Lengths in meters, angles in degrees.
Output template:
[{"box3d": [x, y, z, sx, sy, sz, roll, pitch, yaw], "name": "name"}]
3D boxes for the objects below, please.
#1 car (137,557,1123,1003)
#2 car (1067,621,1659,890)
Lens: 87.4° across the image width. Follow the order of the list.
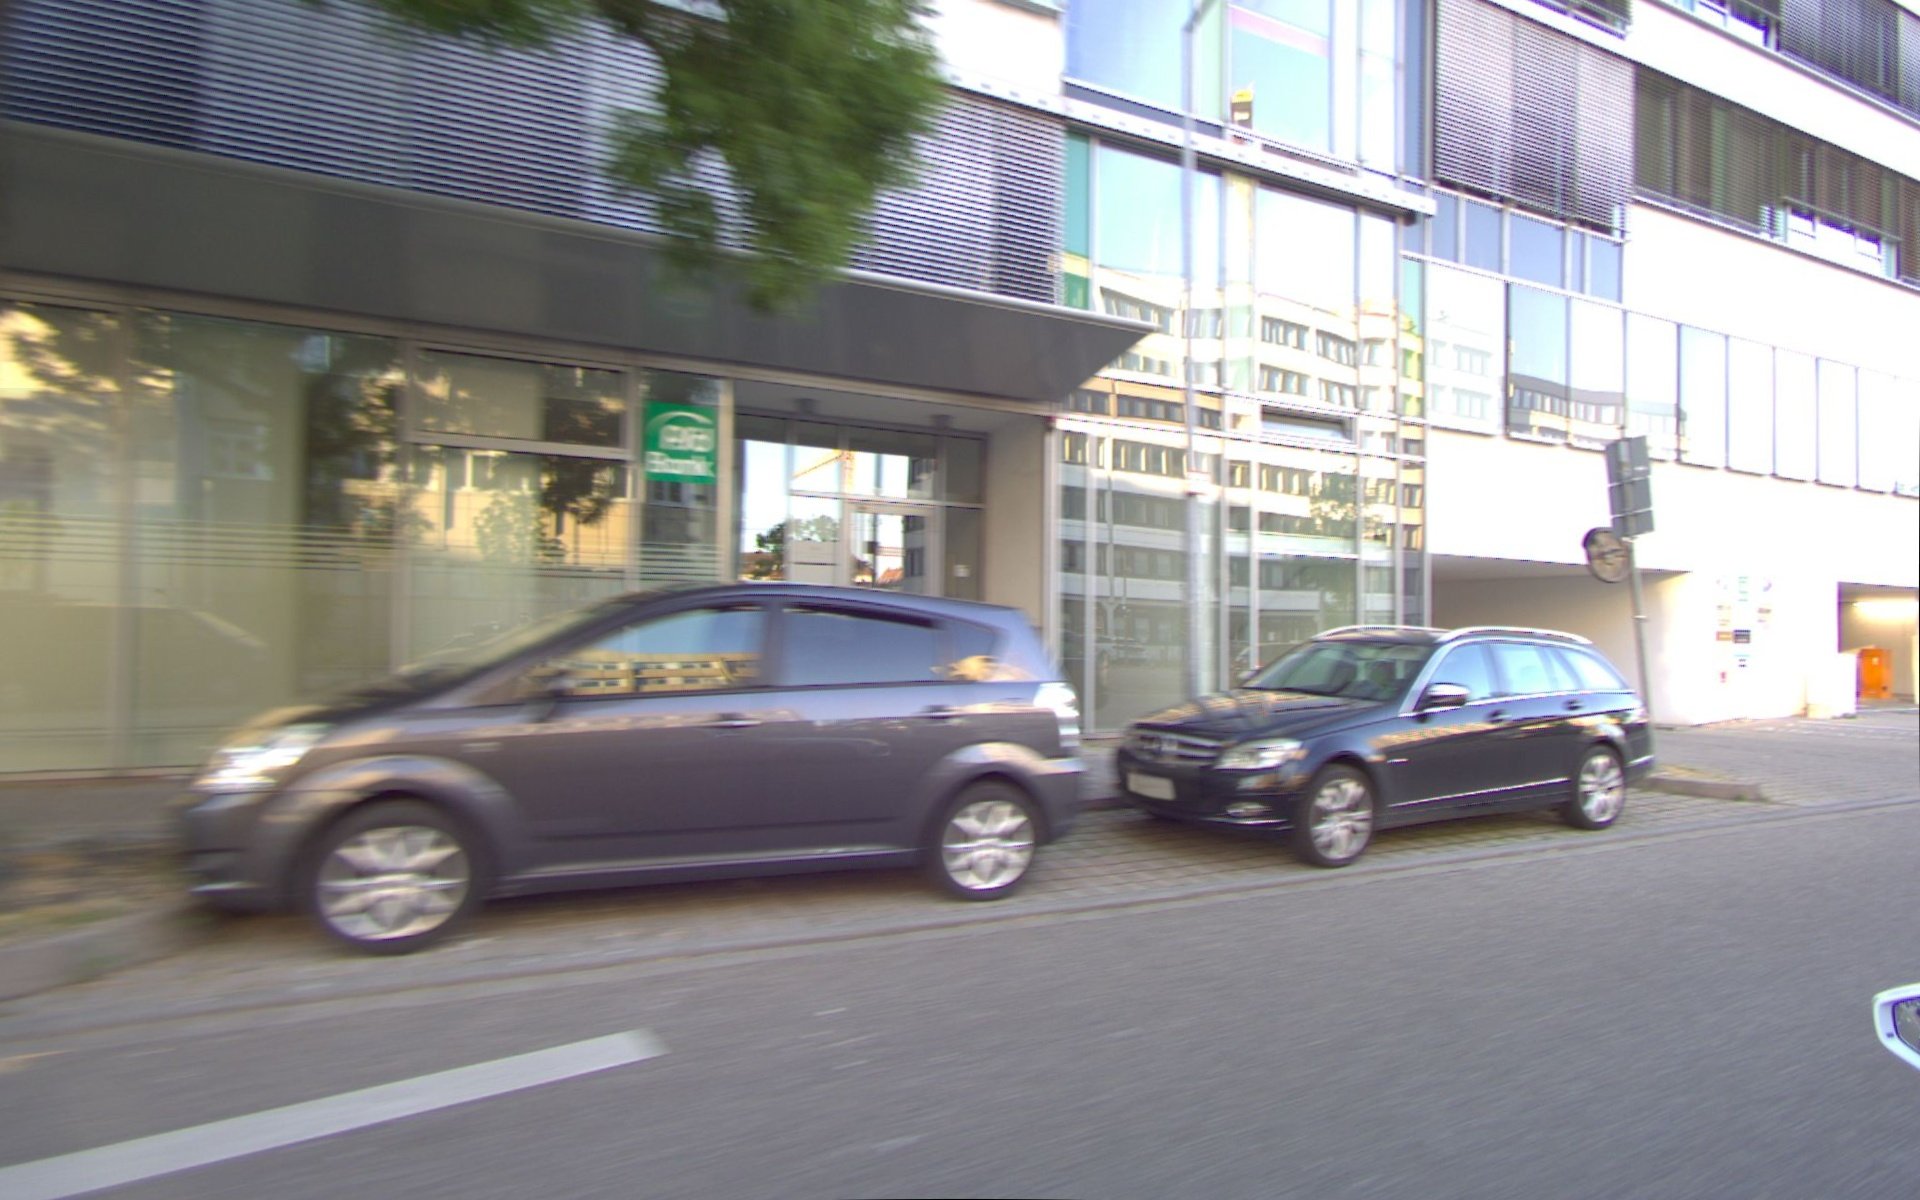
[{"box3d": [-1.408, 0.696, 5.337, 4.210, 1.592, 1.839, 1, -1, -25], "name": "car"}, {"box3d": [3.053, 0.915, 7.357, 4.346, 1.471, 1.707, 1, -1, -30], "name": "car"}]
